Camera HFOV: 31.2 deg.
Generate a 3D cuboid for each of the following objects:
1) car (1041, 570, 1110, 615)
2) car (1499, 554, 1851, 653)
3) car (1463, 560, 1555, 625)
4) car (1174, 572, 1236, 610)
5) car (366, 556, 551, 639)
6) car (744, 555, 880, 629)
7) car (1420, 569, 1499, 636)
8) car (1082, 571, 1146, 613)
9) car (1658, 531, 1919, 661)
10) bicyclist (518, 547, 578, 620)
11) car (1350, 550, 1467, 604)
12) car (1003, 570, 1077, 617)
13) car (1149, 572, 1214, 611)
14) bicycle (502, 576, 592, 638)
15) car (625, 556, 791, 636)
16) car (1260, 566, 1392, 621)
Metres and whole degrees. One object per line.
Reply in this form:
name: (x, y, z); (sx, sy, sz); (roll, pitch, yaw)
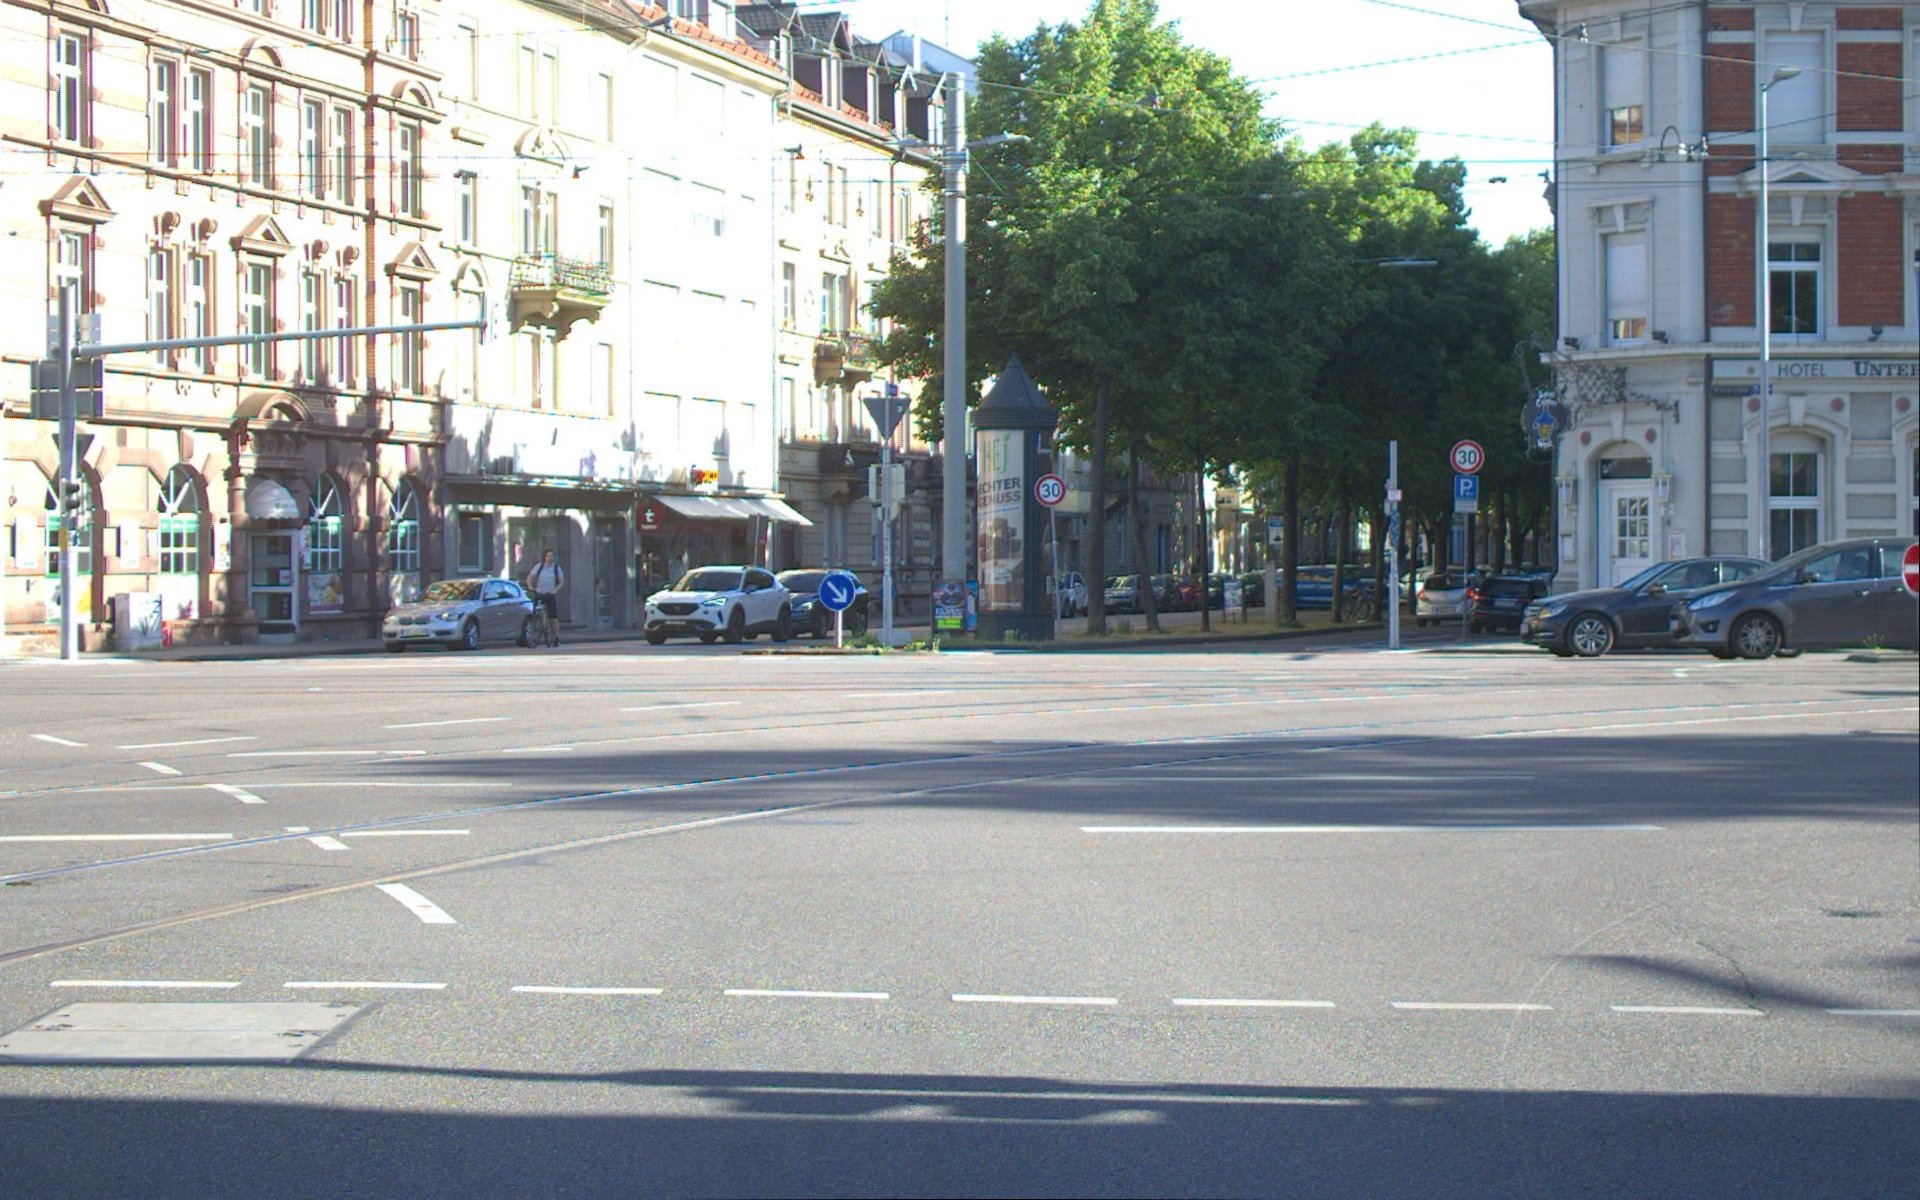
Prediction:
car: (3.917, -0.261, 115.816); (1.741, 1.393, 4.122); (3, 1, 9)
car: (10.012, 0.032, 48.367); (4.509, 1.336, 2.000); (0, 1, -2)
car: (13.165, -0.161, 82.297); (1.652, 1.519, 3.750); (0, 0, 17)
car: (9.722, -0.355, 136.397); (1.742, 1.393, 4.121); (3, 1, 13)
car: (-9.779, -0.074, 67.390); (2.098, 1.540, 4.361); (0, 1, 14)
car: (-3.132, -0.194, 73.543); (1.994, 1.508, 3.998); (0, 1, 12)
car: (13.693, 0.055, 94.158); (1.675, 1.750, 3.756); (0, 1, 15)
car: (5.504, -0.309, 122.794); (1.741, 1.393, 4.122); (3, 1, 9)
car: (11.621, -0.073, 45.096); (4.510, 1.666, 2.000); (0, 1, -1)
bicyclist: (-7.855, -0.317, 65.601); (0.794, 1.370, 1.107); (0, 1, 14)
car: (17.405, -0.884, 133.435); (4.115, 1.912, 1.744); (3, 1, 21)
car: (2.593, -0.222, 110.011); (1.741, 1.393, 4.122); (3, 1, 9)
car: (8.504, -0.320, 131.618); (1.742, 1.393, 4.121); (3, 1, 13)
bicycle: (-7.869, 0.124, 65.639); (0.751, 1.131, 2.808); (0, 1, 14)
car: (-4.881, -0.106, 67.176); (2.098, 1.494, 3.998); (0, 1, 14)
car: (12.288, -0.232, 115.236); (4.113, 1.640, 1.745); (3, 1, 15)
